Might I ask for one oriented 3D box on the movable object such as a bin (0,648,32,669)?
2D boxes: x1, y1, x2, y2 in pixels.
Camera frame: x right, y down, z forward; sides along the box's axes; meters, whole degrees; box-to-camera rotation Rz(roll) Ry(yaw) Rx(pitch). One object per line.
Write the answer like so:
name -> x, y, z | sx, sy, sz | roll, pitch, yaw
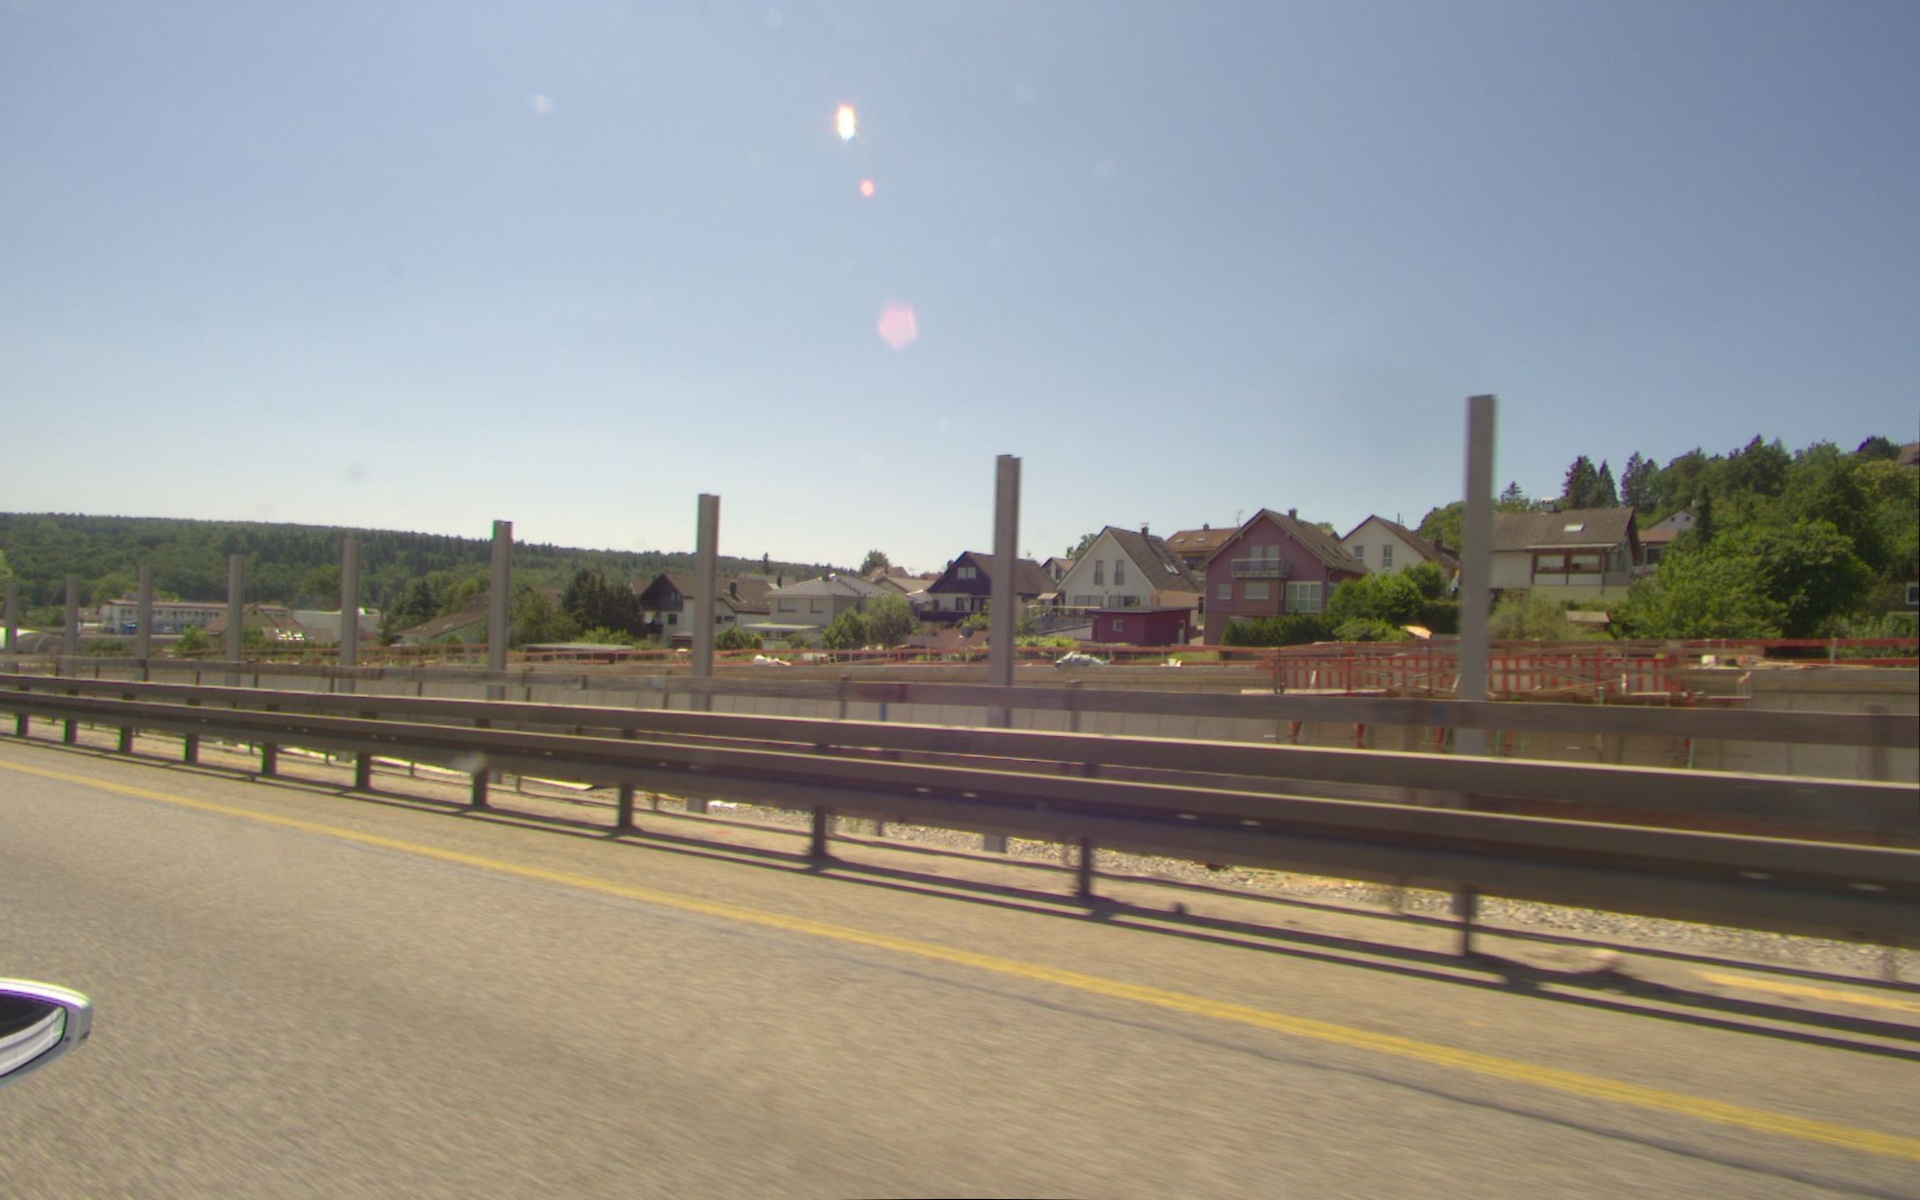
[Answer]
movable object such as a bin -> -103.215, 6.389, 109.232 | 4.094, 2.267, 1.990 | -2, -2, 33
